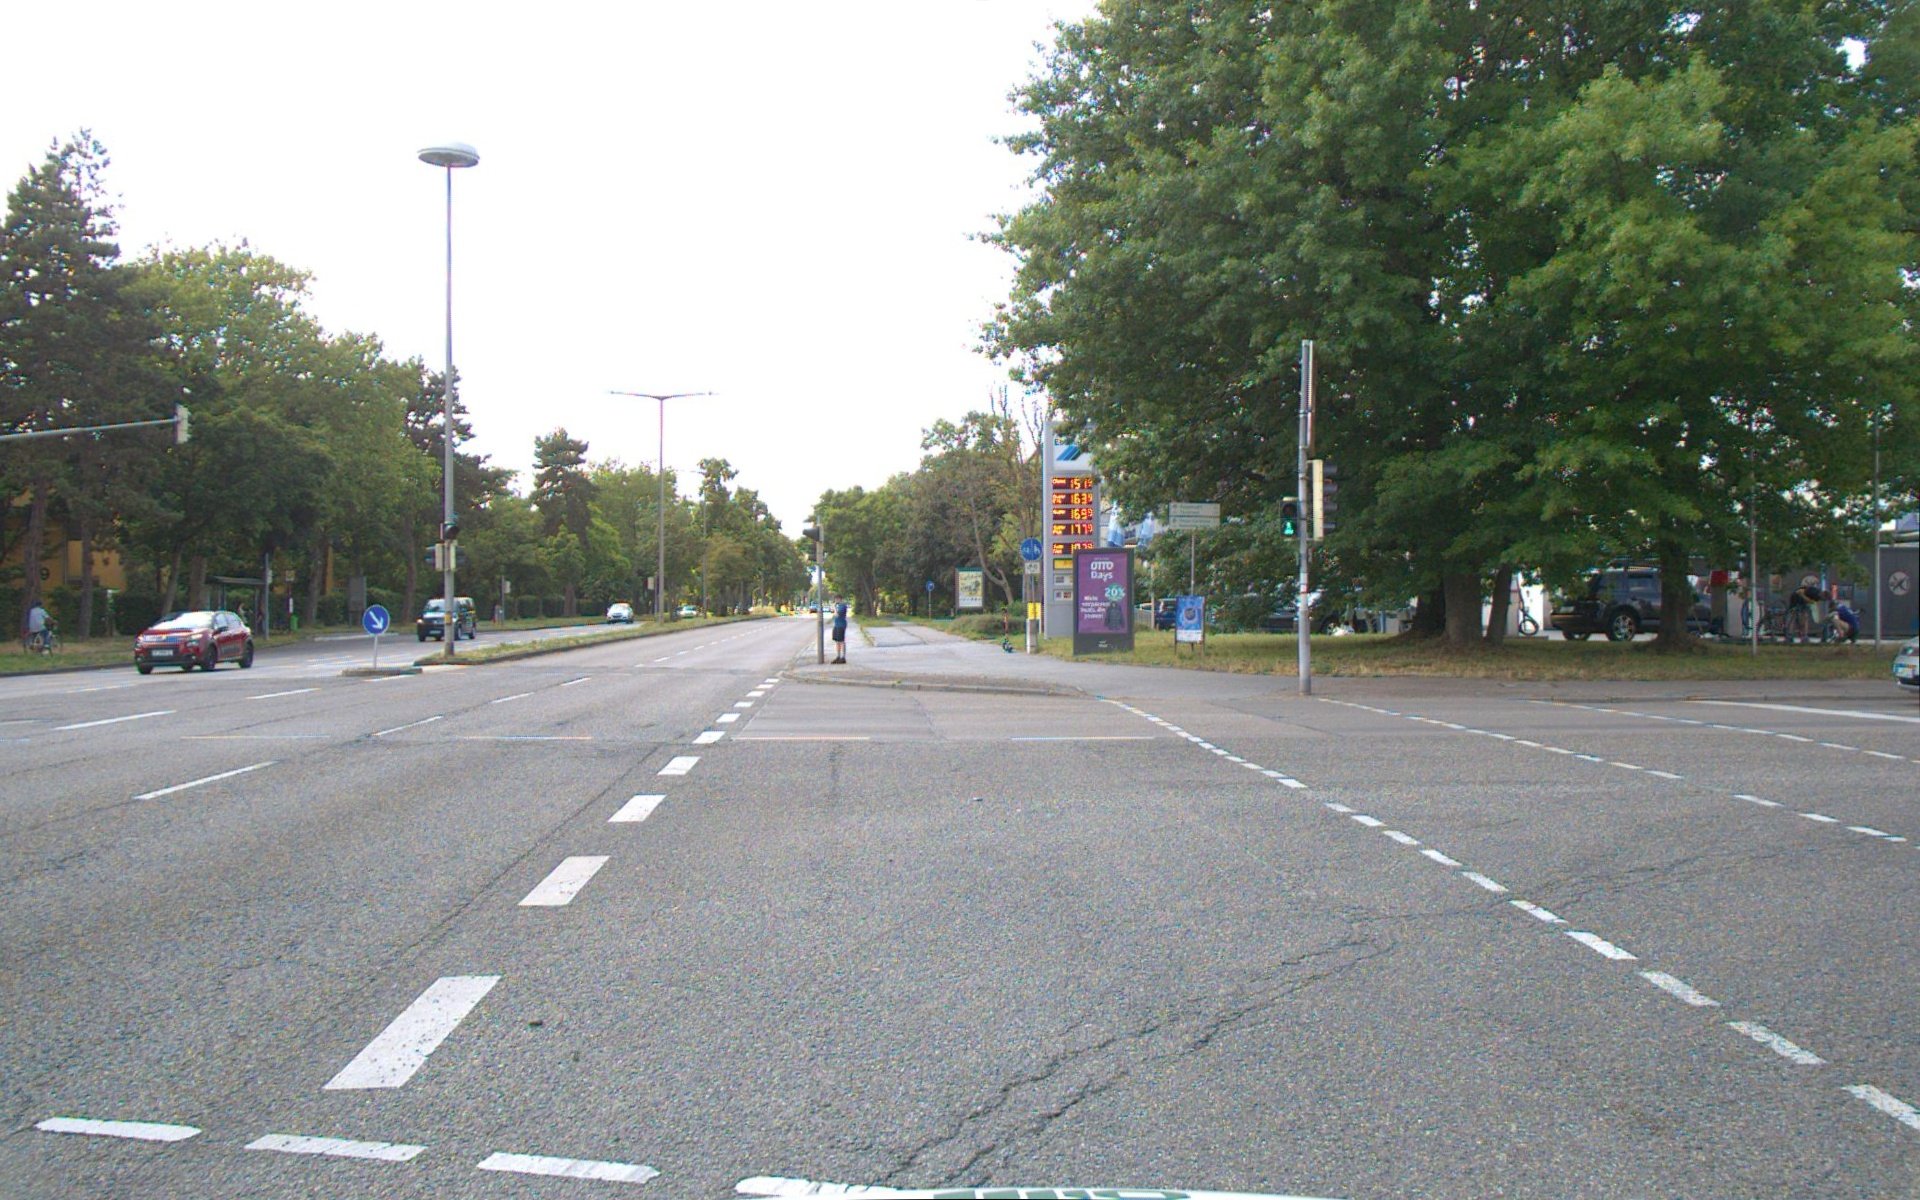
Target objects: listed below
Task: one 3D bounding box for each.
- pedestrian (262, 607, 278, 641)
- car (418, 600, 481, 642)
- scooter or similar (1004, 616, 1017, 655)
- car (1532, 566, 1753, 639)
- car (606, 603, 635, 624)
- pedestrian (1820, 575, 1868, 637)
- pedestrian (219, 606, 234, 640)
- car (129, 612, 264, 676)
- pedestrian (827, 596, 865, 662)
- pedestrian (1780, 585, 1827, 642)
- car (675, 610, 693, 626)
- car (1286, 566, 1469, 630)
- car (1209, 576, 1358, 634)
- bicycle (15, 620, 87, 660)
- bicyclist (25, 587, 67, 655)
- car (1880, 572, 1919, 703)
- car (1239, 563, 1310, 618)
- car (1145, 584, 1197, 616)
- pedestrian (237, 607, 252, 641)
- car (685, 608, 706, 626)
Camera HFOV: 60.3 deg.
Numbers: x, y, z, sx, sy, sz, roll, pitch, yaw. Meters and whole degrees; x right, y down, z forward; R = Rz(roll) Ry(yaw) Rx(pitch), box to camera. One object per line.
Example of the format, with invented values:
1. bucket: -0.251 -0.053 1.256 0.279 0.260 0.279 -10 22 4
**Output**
1. pedestrian: -31.227 1.102 74.865 0.561 1.522 0.419 2 -1 -20
2. car: -23.904 0.966 77.649 1.730 1.889 4.813 -1 0 -4
3. scooter or similar: 1.351 0.939 44.089 0.216 0.997 1.271 -1 0 -4
4. car: 16.136 0.059 39.195 4.473 1.624 2.145 -1 0 -15
5. car: -28.912 1.157 140.929 1.824 1.735 4.451 -1 0 -5
6. pedestrian: 18.555 0.126 34.709 0.752 1.277 0.641 0 -2 42
7. pedestrian: -32.925 1.048 74.236 0.561 1.522 0.419 2 -1 -20
8. car: -18.898 1.048 41.148 1.738 1.491 4.449 -1 0 -7
9. pedestrian: -2.736 0.680 39.622 0.714 1.558 0.755 -1 -1 -20
10. pedestrian: 17.992 0.287 35.280 0.752 1.211 0.641 0 -2 42
11. car: -32.193 2.102 193.044 1.824 1.735 4.450 -1 0 -6
12. car: 12.921 -0.060 51.241 5.094 1.859 2.145 -1 0 -15
13. car: 12.139 0.184 62.157 5.083 2.039 2.150 -1 0 -8
14. bicycle: -27.563 1.198 50.199 0.738 1.138 2.116 -1 0 10
15. bicyclist: -27.608 0.634 49.981 0.735 2.049 0.832 -1 -1 10
16. car: 13.160 0.429 19.701 3.520 1.543 1.560 0 0 9
17. car: 14.744 -0.411 77.929 1.716 2.496 5.743 -1 0 -5
18. car: 10.287 0.003 80.764 1.716 1.479 3.736 -1 0 -6
19. pedestrian: -32.262 1.071 74.565 0.561 1.522 0.419 2 -1 -20
20. car: -26.604 1.689 166.366 1.824 1.735 4.450 -1 0 -6
